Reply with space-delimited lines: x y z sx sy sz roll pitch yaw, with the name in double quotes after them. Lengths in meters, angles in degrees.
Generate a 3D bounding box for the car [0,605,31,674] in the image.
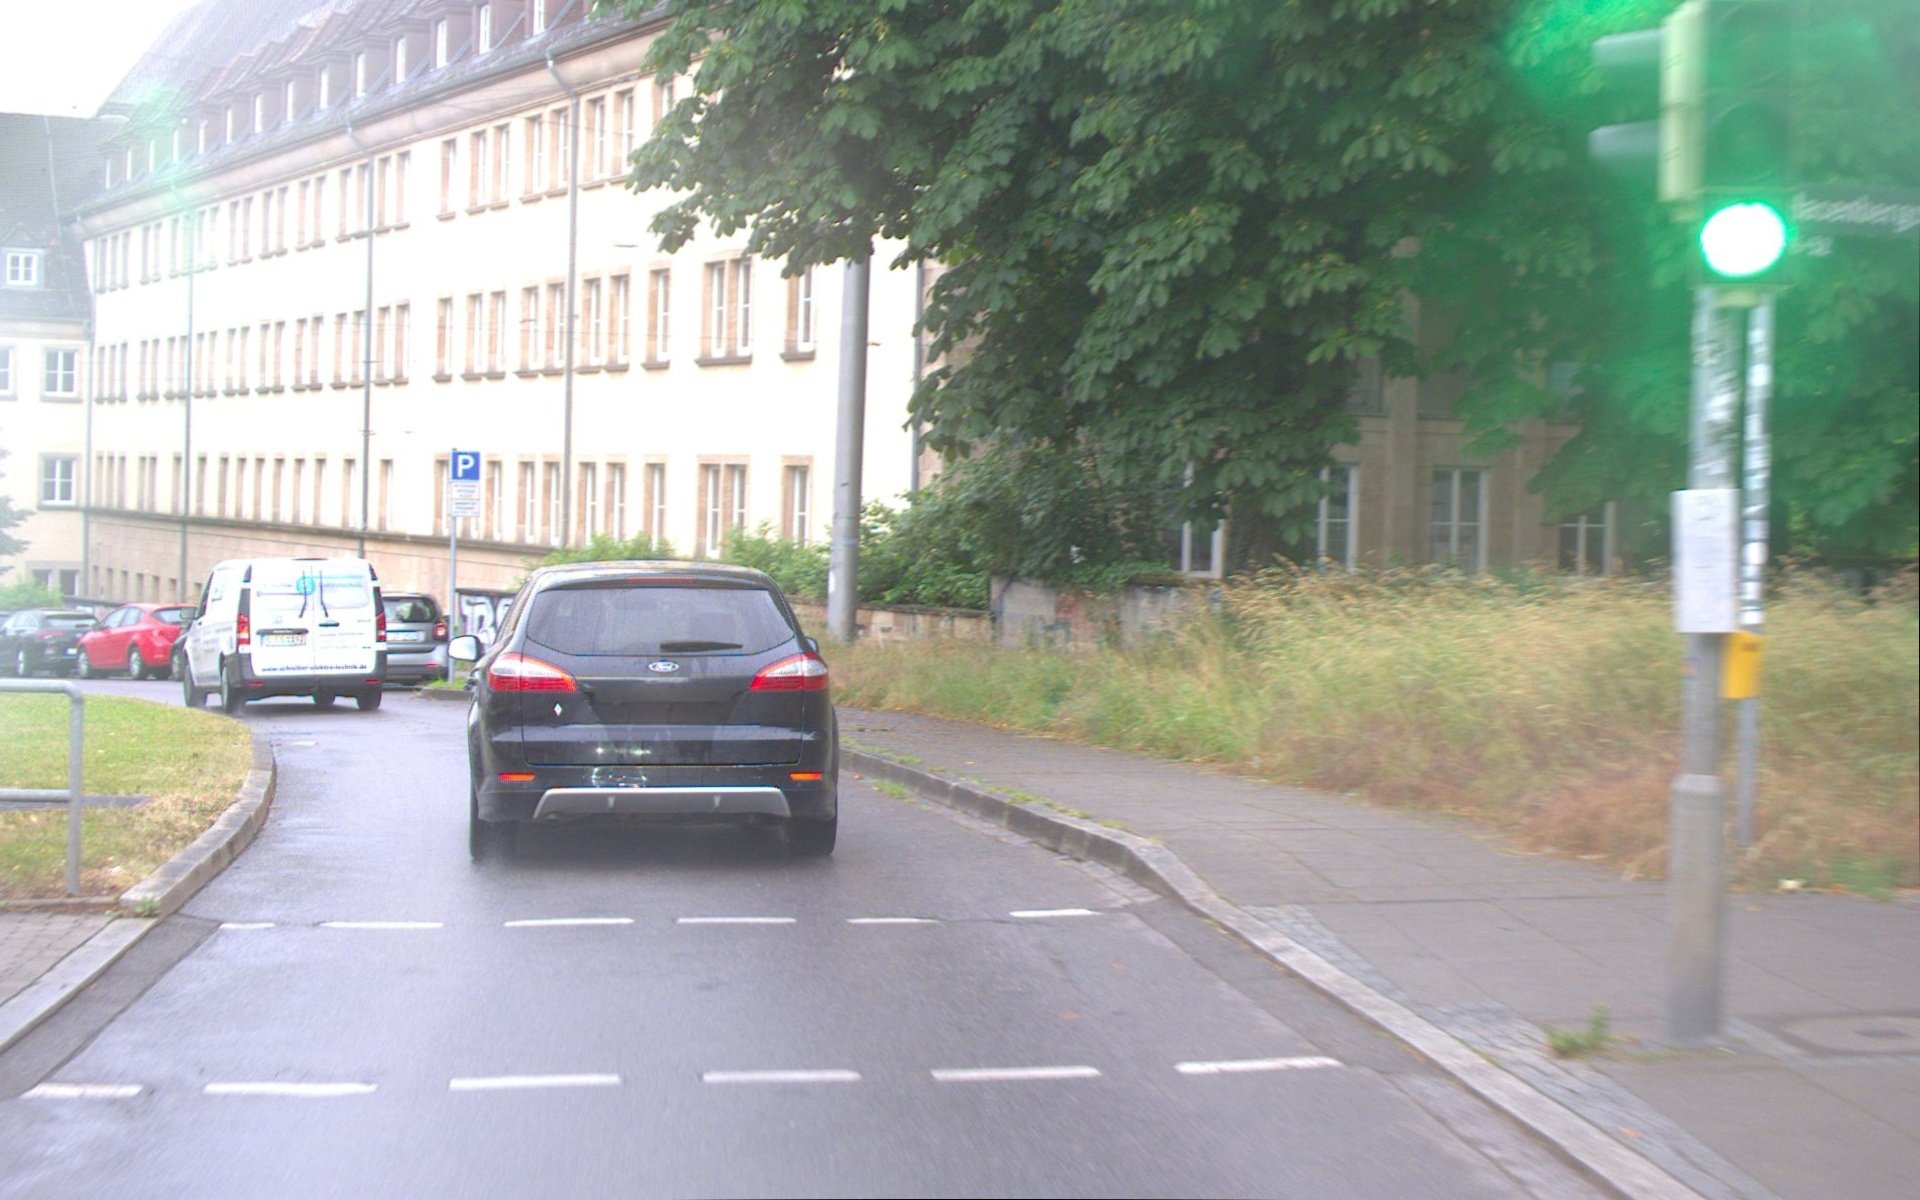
-22.128 0.885 76.188 1.666 1.471 4.108 -1 0 -35 "car"

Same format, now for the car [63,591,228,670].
-15.816 0.603 66.642 1.666 1.471 4.065 1 -1 -36 "car"

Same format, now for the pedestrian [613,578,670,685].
-5.287 0.513 57.059 0.717 1.749 0.739 -1 0 -23 "pedestrian"

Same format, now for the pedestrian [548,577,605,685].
-6.316 0.508 56.574 0.717 1.749 0.739 -1 0 -23 "pedestrian"

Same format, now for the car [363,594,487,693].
-8.341 0.659 53.466 1.597 1.460 2.721 -1 0 -15 "car"

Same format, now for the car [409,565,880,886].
-1.774 0.567 18.027 1.919 1.474 4.001 0 0 -13 "car"

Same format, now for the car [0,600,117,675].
-18.995 0.762 71.163 1.665 1.471 4.457 -1 0 -32 "car"

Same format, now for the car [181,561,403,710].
-8.353 0.408 42.731 2.136 1.739 4.219 0 0 -19 "car"
